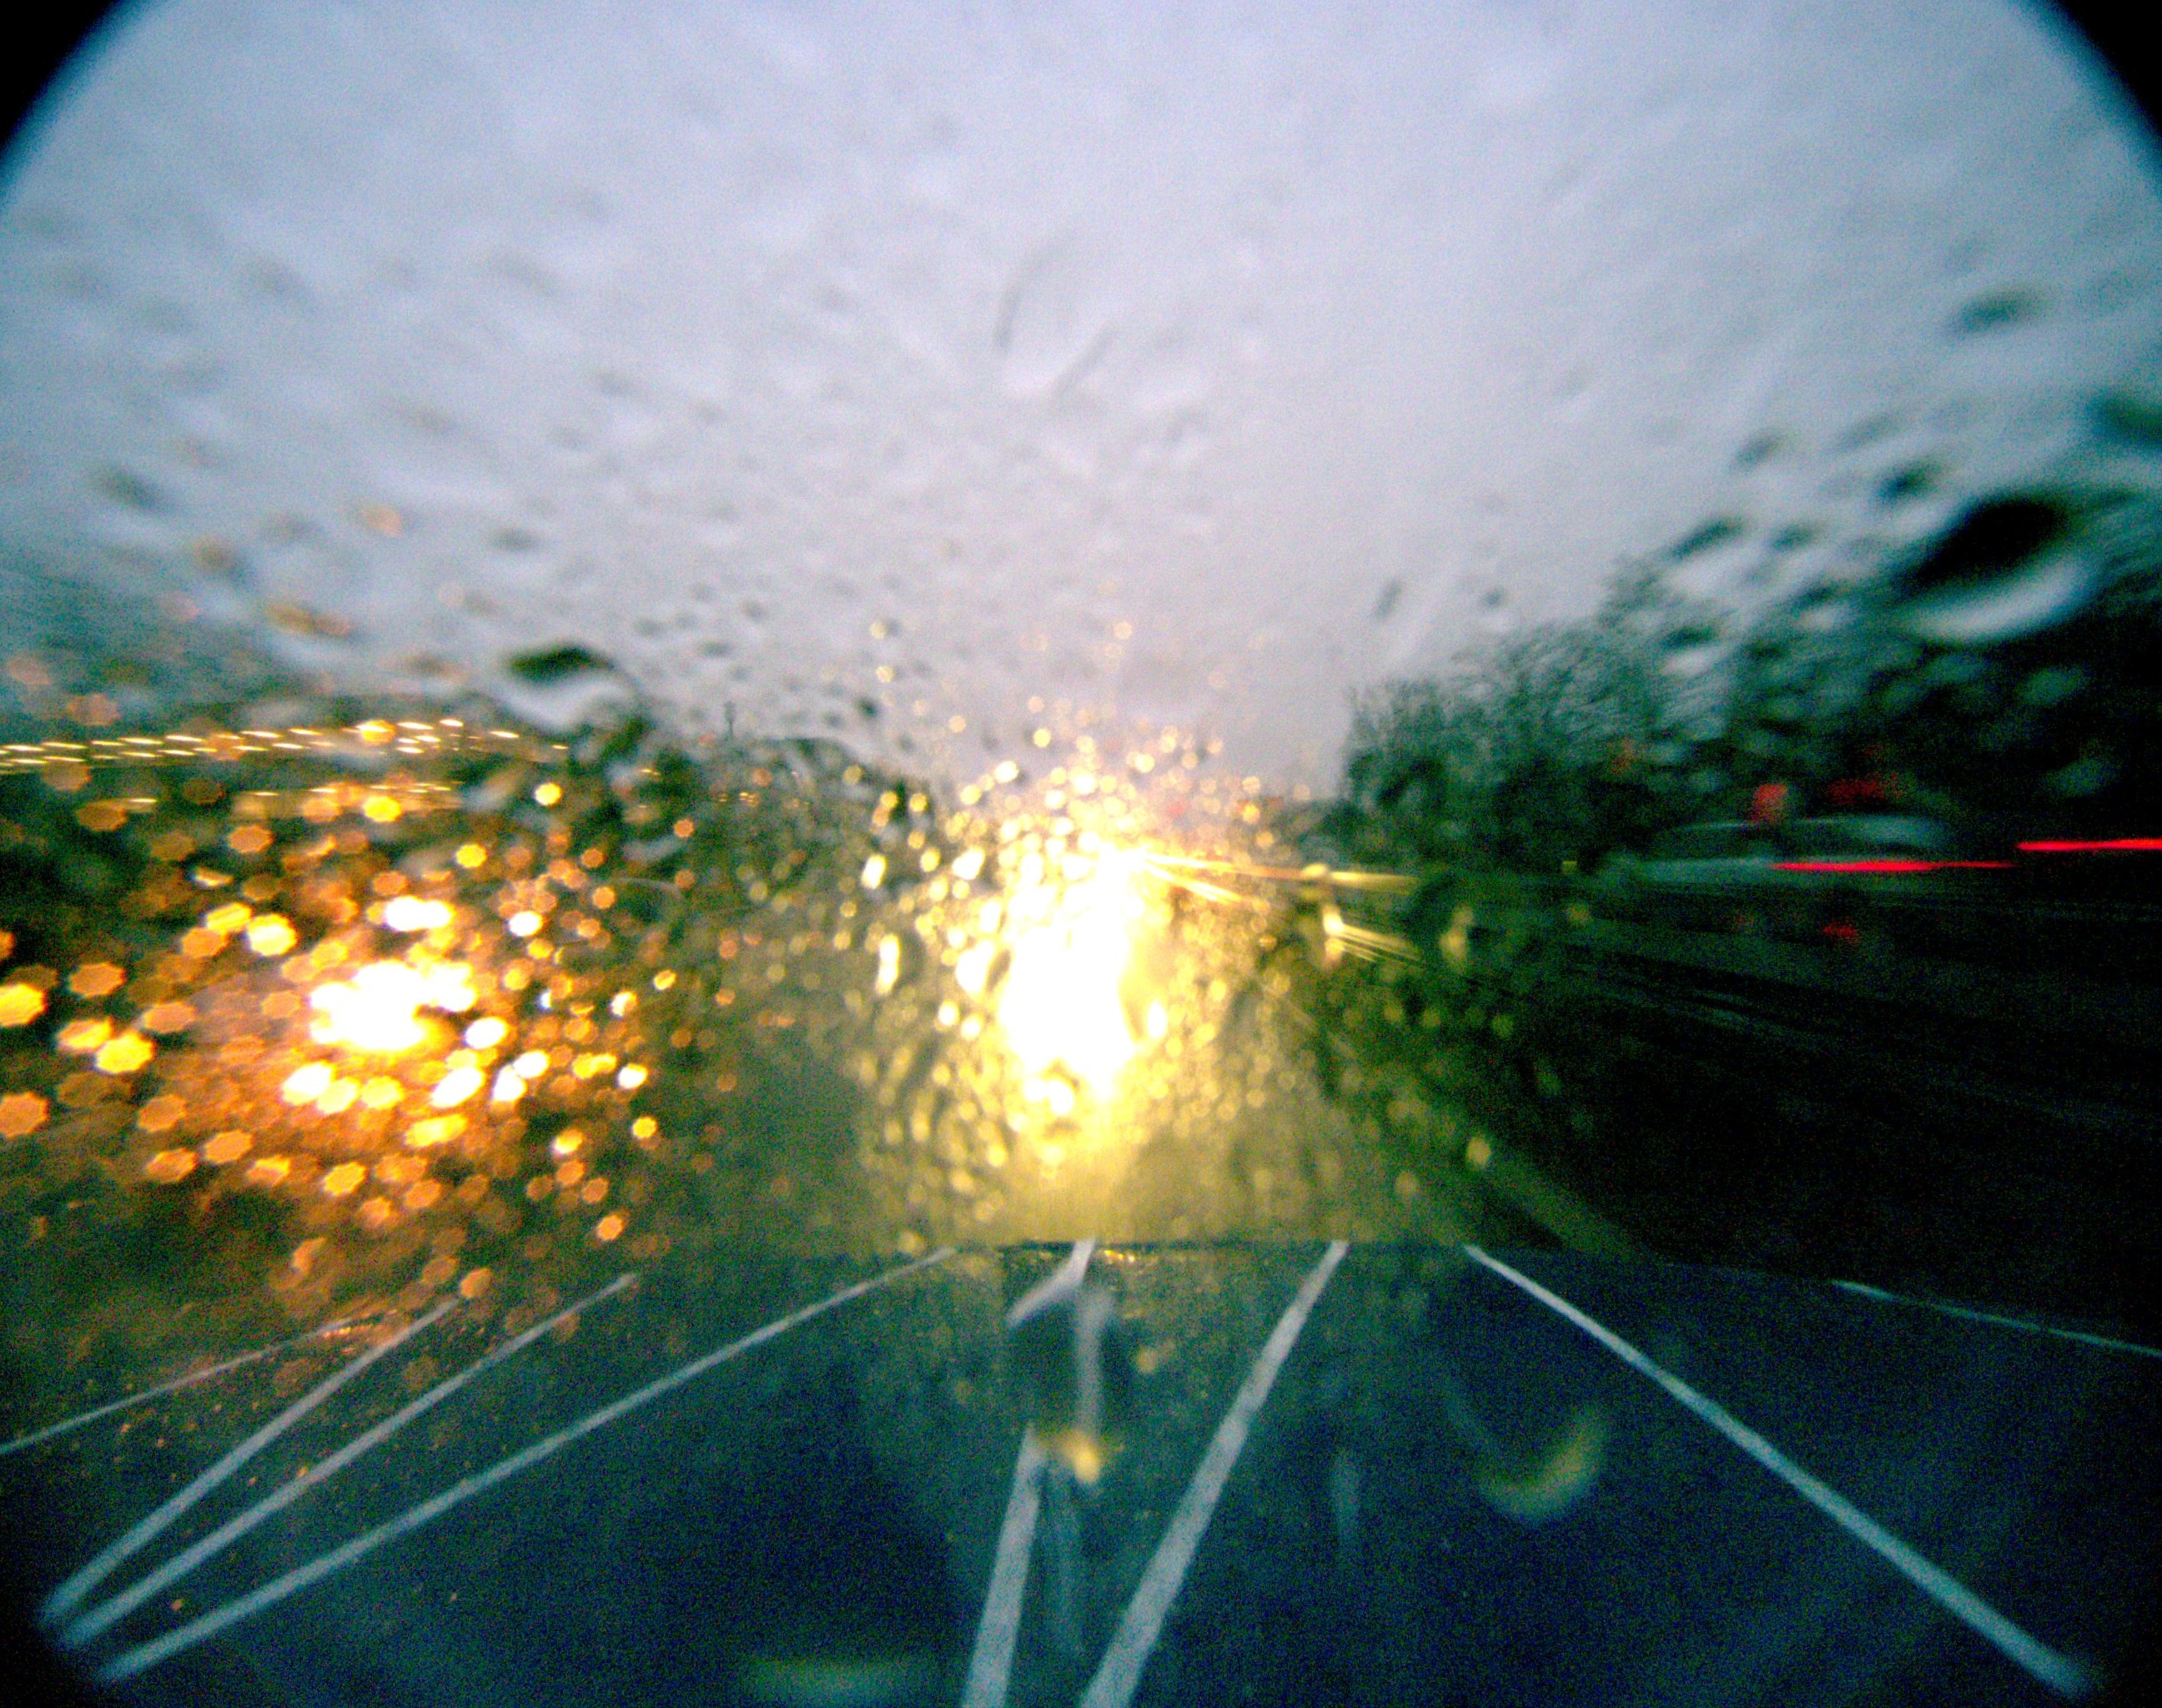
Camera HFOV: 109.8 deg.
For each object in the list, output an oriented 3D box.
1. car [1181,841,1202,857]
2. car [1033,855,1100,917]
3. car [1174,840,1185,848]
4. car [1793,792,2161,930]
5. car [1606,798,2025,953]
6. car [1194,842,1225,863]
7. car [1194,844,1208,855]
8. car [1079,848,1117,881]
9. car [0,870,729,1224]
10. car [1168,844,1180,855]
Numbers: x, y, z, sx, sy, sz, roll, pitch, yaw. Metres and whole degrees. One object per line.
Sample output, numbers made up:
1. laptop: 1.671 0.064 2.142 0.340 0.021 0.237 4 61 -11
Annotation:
1. car: 10.917 -0.532 75.471 1.657 1.510 3.505 -3 1 3
2. car: -0.317 0.815 21.065 1.595 1.445 4.176 -3 0 1
3. car: 19.037 -1.897 146.601 1.740 1.486 3.843 -3 1 4
4. car: 14.973 0.025 12.593 1.885 1.822 4.786 -3 1 1
5. car: 10.735 0.232 11.787 1.888 1.822 4.786 -3 1 1
6. car: 10.040 -0.125 59.697 1.787 1.501 4.134 -3 1 2
7. car: 19.782 -0.767 125.136 1.708 1.557 4.851 -3 1 3
8. car: 0.838 0.497 39.522 1.759 1.521 3.999 -3 1 -1
9. car: -4.672 0.995 5.814 1.854 1.493 4.261 -3 1 1
10. car: 14.433 -0.711 118.010 1.620 1.475 4.599 -3 1 3
